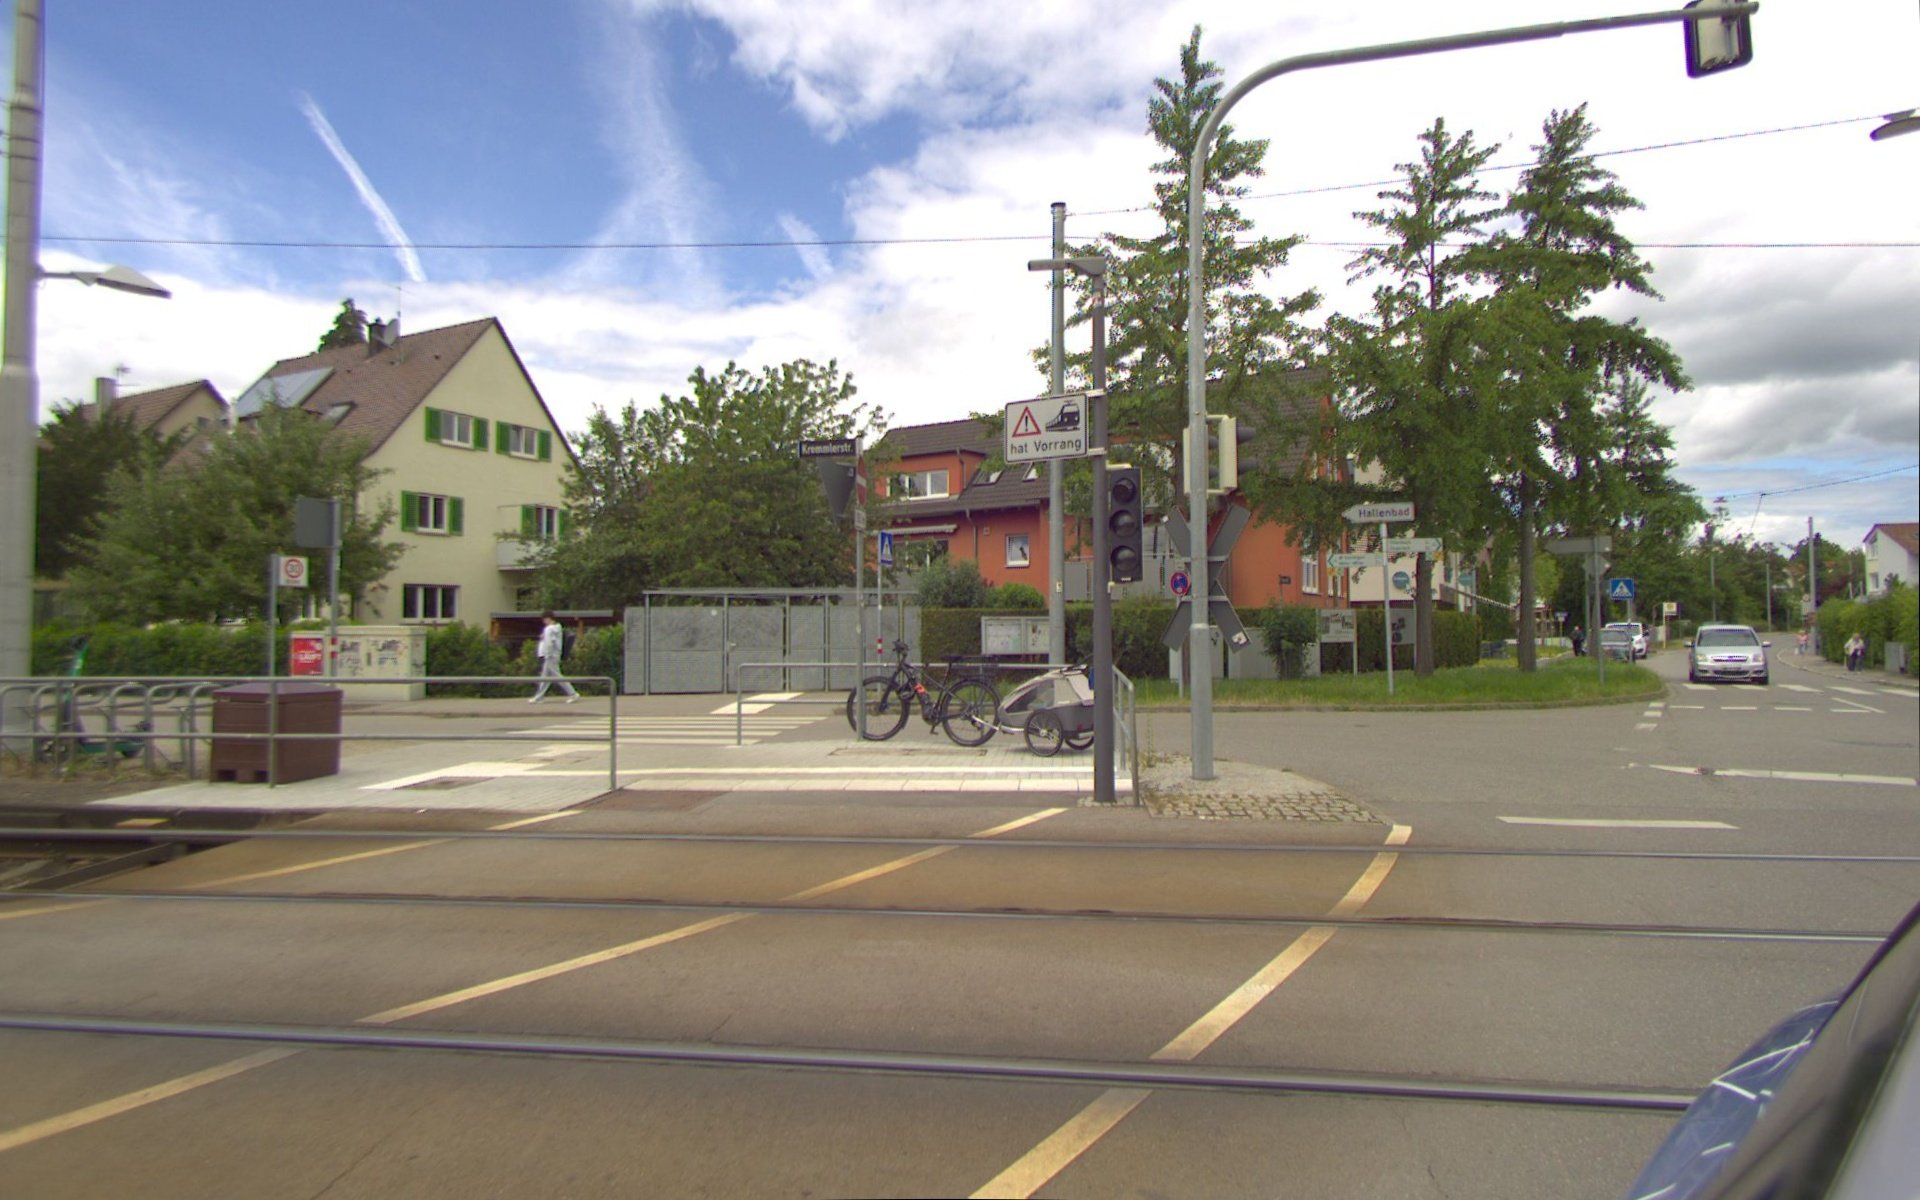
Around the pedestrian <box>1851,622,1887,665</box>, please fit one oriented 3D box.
[{"bbox_3d":[33.415,1.599,37.206,0.740,1.551,0.540,-3,-3,22],"label":"pedestrian"}]

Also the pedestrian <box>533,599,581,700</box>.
[{"bbox_3d":[-7.918,0.964,19.910,0.813,1.939,0.627,1,-1,-19],"label":"pedestrian"}]

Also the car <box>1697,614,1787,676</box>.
[{"bbox_3d":[21.561,1.216,28.022,1.716,1.588,3.877,-2,-2,35],"label":"car"}]

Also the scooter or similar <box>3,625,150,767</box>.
[{"bbox_3d":[-8.878,0.926,10.209,0.481,1.333,1.049,1,-1,6],"label":"scooter or similar"}]

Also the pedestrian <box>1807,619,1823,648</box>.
[{"bbox_3d":[48.876,1.925,57.846,0.615,1.620,0.601,-1,-2,34],"label":"pedestrian"}]

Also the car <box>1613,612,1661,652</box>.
[{"bbox_3d":[37.188,1.760,55.568,1.986,2.040,5.497,-3,-3,34],"label":"car"}]

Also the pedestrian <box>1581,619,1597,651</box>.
[{"bbox_3d":[33.499,1.857,53.881,0.674,1.690,0.651,0,-2,35],"label":"pedestrian"}]

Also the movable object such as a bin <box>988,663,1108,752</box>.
[{"bbox_3d":[0.904,1.081,10.432,1.085,0.835,0.573,-1,-2,31],"label":"movable object such as a bin"}]

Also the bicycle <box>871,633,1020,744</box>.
[{"bbox_3d":[-0.182,0.971,11.454,1.676,1.170,0.462,-1,-2,28],"label":"bicycle"}]

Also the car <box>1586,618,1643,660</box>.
[{"bbox_3d":[26.914,1.587,41.689,1.839,1.658,4.413,-2,-2,32],"label":"car"}]
